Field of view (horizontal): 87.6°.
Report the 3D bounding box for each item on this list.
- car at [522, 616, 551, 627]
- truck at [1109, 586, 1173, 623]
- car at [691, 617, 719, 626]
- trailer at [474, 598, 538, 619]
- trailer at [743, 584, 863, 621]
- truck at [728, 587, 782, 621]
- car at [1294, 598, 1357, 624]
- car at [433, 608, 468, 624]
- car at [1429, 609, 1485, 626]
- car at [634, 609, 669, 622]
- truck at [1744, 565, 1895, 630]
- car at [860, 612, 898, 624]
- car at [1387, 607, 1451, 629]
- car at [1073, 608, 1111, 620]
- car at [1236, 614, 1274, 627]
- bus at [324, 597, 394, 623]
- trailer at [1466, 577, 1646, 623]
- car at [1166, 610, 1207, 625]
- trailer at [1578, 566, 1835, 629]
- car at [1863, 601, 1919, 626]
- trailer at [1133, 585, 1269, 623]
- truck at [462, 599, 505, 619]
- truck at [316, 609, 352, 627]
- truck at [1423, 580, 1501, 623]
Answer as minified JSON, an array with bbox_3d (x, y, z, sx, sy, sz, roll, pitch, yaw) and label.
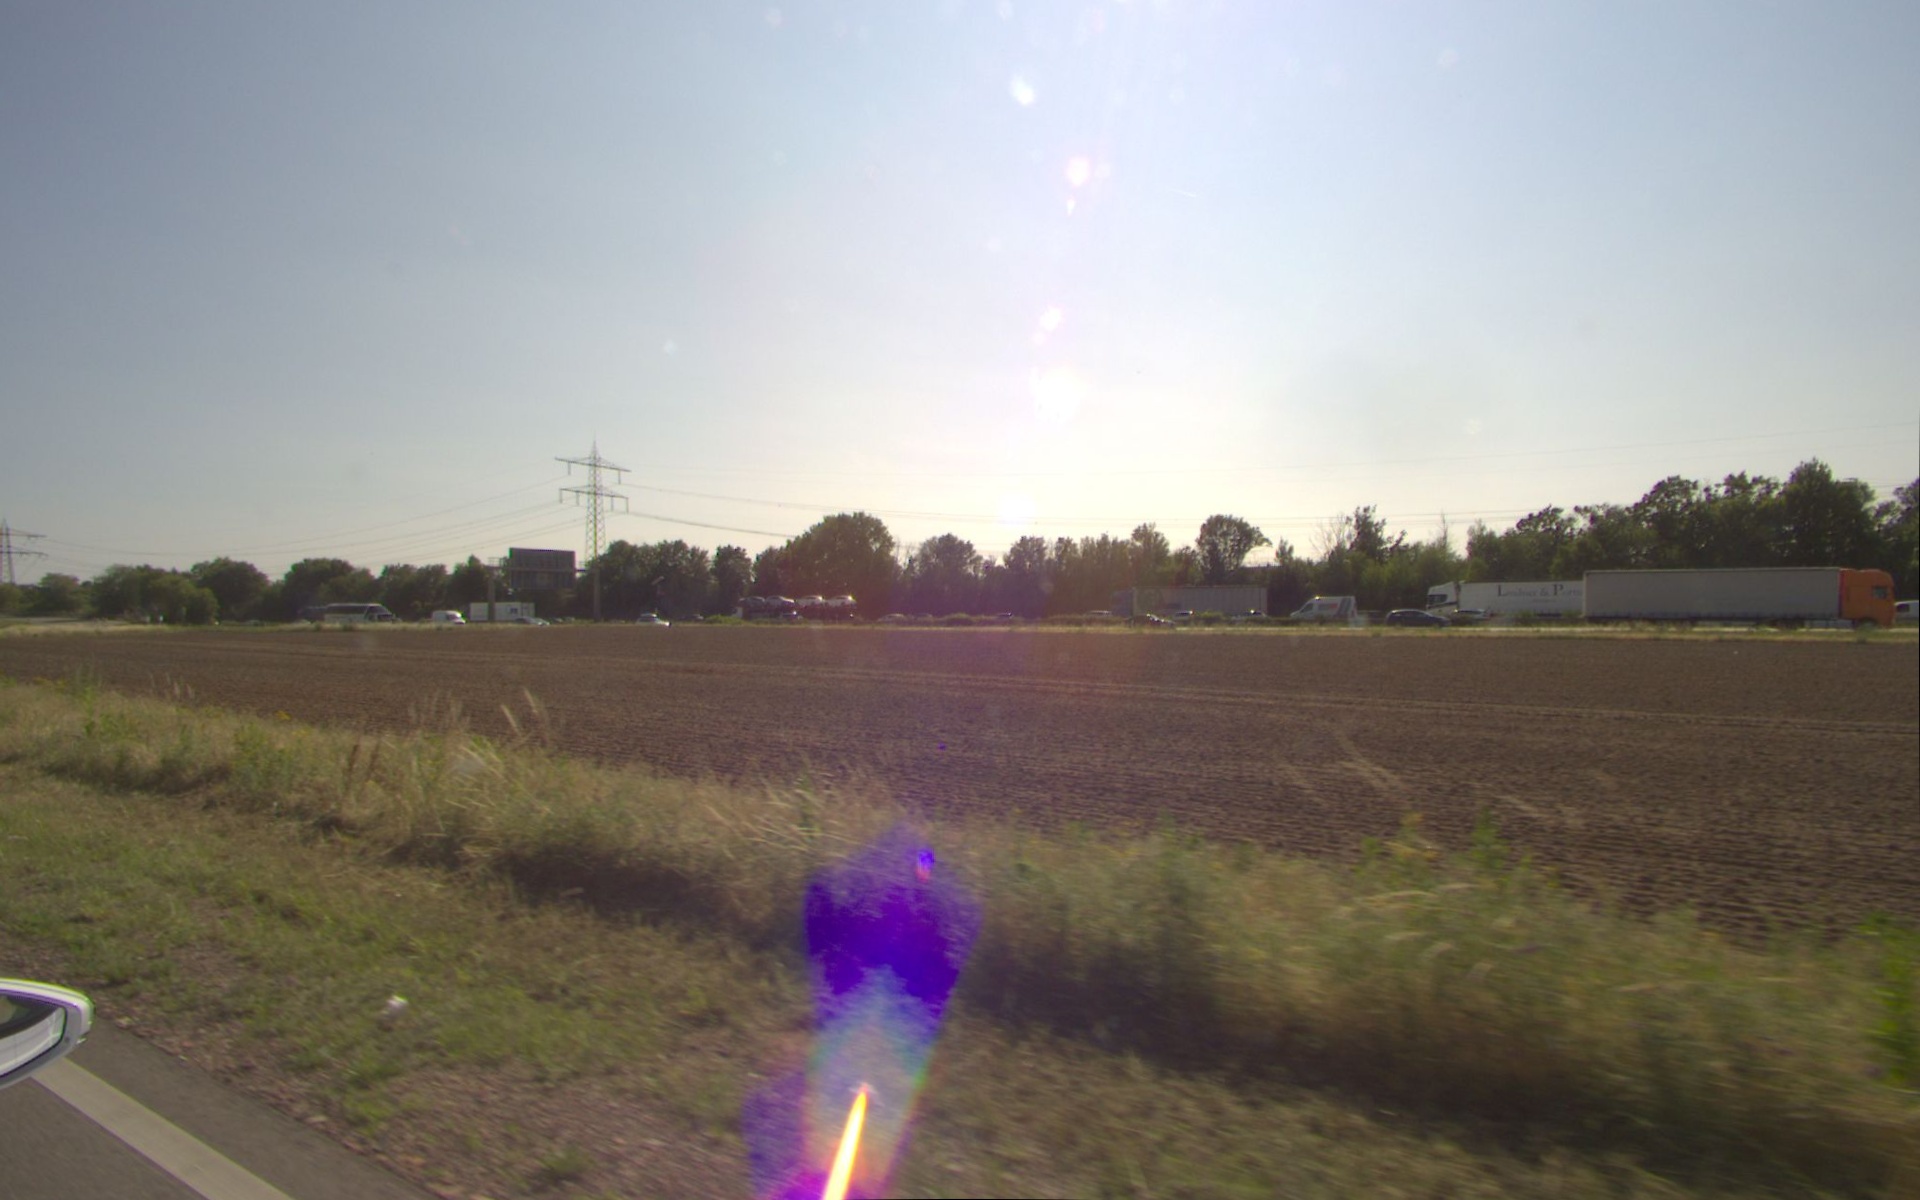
[{"bbox_3d":[-57.767,2.939,136.635,4.036,1.391,1.700,-1,-2,33],"label":"car"},{"bbox_3d":[19.242,0.477,106.509,6.001,3.782,3.065,0,0,33],"label":"truck"},{"bbox_3d":[-33.519,2.819,131.565,3.527,1.166,1.393,0,-1,30],"label":"car"},{"bbox_3d":[-74.932,1.435,165.144,12.273,3.310,3.279,-1,0,31],"label":"trailer"},{"bbox_3d":[-20.799,0.406,131.852,17.302,4.512,3.416,-1,0,30],"label":"trailer"},{"bbox_3d":[-27.832,0.519,135.942,6.606,4.512,3.416,-1,0,30],"label":"truck"},{"bbox_3d":[33.086,0.996,90.689,5.161,2.228,1.902,0,-1,32],"label":"car"},{"bbox_3d":[-74.609,2.349,146.564,5.442,2.402,1.991,-1,-2,32],"label":"car"},{"bbox_3d":[42.597,1.489,85.895,4.186,1.403,1.848,0,-1,32],"label":"car"},{"bbox_3d":[-36.716,1.876,119.325,4.136,1.563,1.700,-1,-2,32],"label":"car"},{"bbox_3d":[54.545,-0.104,63.808,6.850,3.899,3.098,0,-1,32],"label":"truck"},{"bbox_3d":[-9.458,2.108,116.825,4.186,1.403,1.848,0,-1,32],"label":"car"},{"bbox_3d":[36.405,1.453,79.460,4.411,1.632,1.902,-1,-2,34],"label":"car"},{"bbox_3d":[13.388,1.464,101.782,3.530,1.166,1.392,0,-1,33],"label":"car"},{"bbox_3d":[27.572,1.952,93.620,3.135,1.166,1.392,0,-1,32],"label":"car"},{"bbox_3d":[-91.770,1.476,152.752,14.326,3.854,2.460,0,0,30],"label":"bus"},{"bbox_3d":[51.214,0.108,86.475,13.178,3.782,3.065,-1,-1,33],"label":"trailer"},{"bbox_3d":[22.053,1.736,97.442,3.550,1.403,1.489,0,-1,32],"label":"car"},{"bbox_3d":[49.384,-0.048,67.048,13.520,3.899,3.098,-1,-1,32],"label":"trailer"},{"bbox_3d":[66.109,0.964,70.107,4.034,1.659,1.701,-1,-2,31],"label":"car"},{"bbox_3d":[24.605,0.399,102.948,13.438,3.782,3.065,0,0,33],"label":"trailer"},{"bbox_3d":[-80.006,1.515,168.158,6.876,3.310,3.279,-1,0,31],"label":"truck"},{"bbox_3d":[-119.350,3.433,190.811,6.333,3.310,3.279,0,0,31],"label":"truck"},{"bbox_3d":[45.328,0.189,90.359,6.031,3.782,3.065,0,-1,33],"label":"truck"}]
